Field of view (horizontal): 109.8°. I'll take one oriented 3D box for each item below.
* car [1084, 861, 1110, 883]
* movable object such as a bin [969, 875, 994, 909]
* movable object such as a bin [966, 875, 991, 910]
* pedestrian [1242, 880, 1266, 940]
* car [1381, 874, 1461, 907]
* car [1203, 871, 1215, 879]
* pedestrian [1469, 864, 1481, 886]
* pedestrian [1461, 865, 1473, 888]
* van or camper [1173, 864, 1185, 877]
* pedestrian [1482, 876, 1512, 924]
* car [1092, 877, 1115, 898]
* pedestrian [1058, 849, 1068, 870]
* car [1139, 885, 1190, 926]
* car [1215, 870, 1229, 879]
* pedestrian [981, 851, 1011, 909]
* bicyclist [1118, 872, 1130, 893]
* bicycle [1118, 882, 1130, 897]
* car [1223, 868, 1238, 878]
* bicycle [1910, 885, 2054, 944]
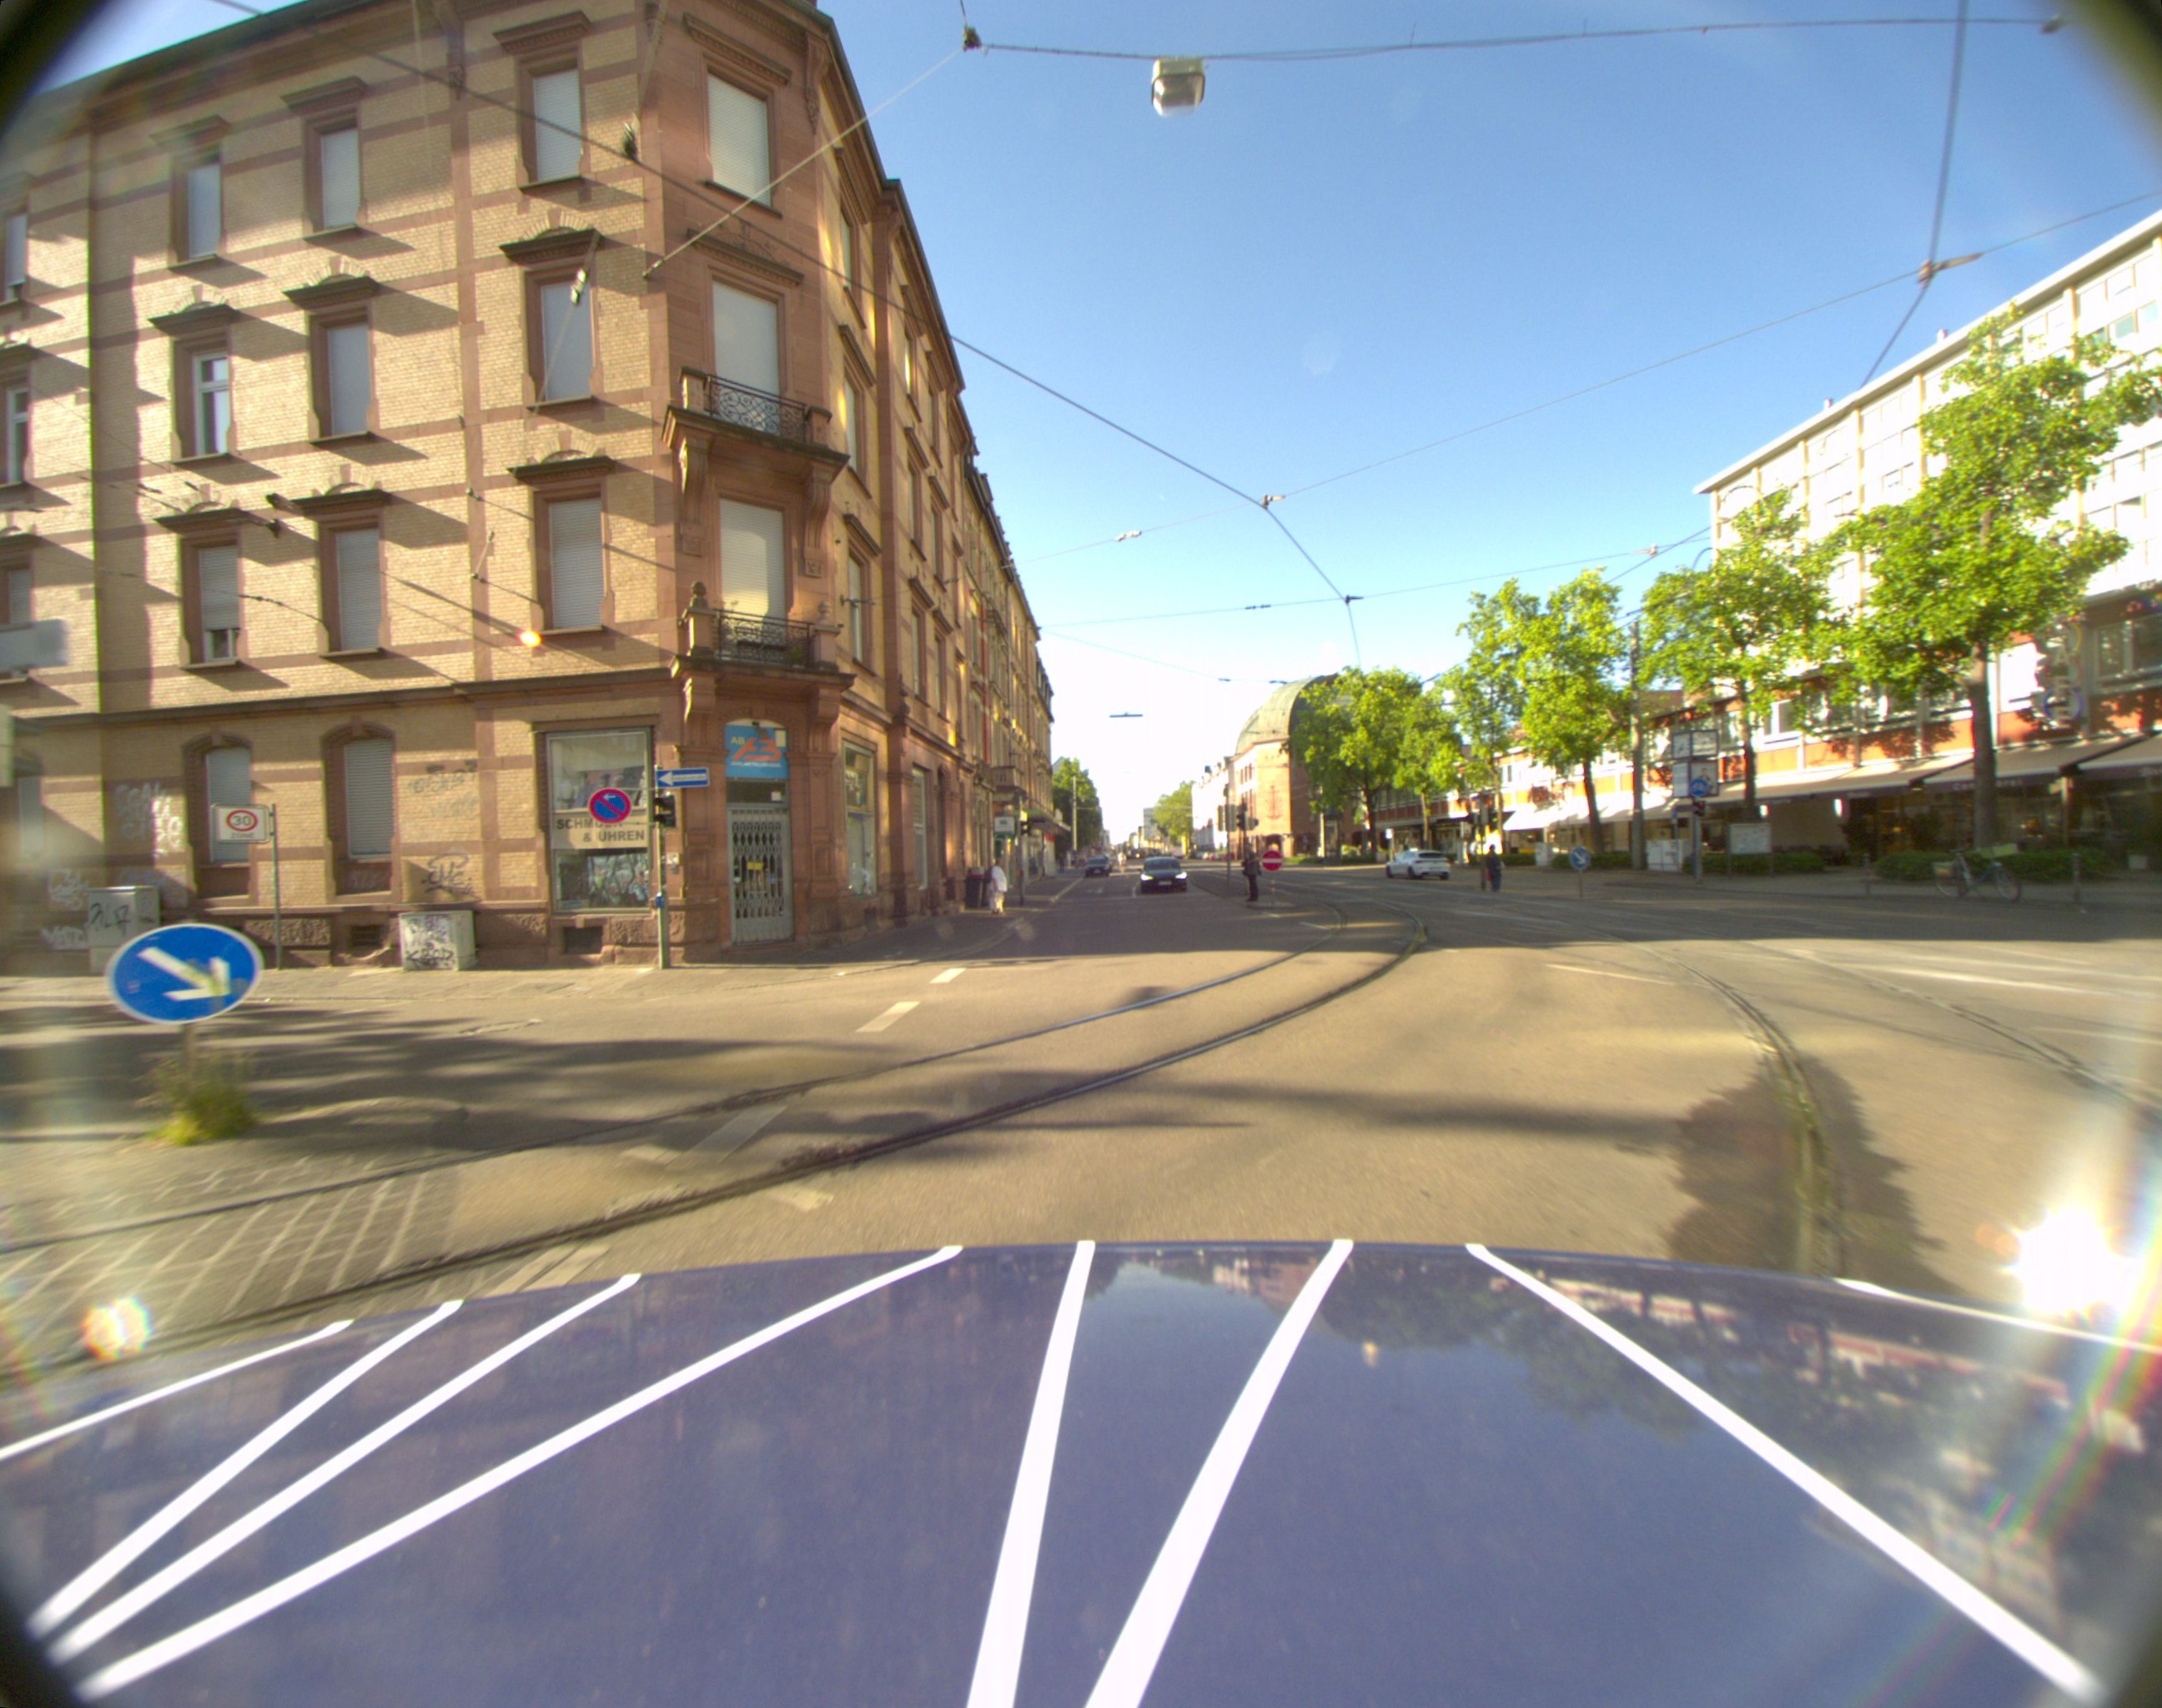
[{"bbox_3d":[1.235,1.370,57.262,1.694,1.442,4.361,-4,-2,3],"label":"car"},{"bbox_3d":[-3.236,1.226,24.795,0.664,1.066,0.591,1,-1,5],"label":"movable object such as a bin"},{"bbox_3d":[-3.265,1.221,24.191,0.664,1.066,0.545,1,-1,5],"label":"movable object such as a bin"},{"bbox_3d":[5.259,1.684,23.095,0.559,1.753,0.895,0,-1,3],"label":"pedestrian"},{"bbox_3d":[16.664,1.765,37.539,1.998,1.442,4.503,-2,-2,1],"label":"car"},{"bbox_3d":[25.035,4.120,148.356,1.855,1.445,3.855,-3,-2,3],"label":"car"},{"bbox_3d":[31.166,1.664,60.139,0.573,1.740,0.707,-2,-1,4],"label":"pedestrian"},{"bbox_3d":[30.539,1.782,60.106,0.573,1.761,0.707,-2,-1,4],"label":"pedestrian"},{"bbox_3d":[21.866,3.623,169.157,2.041,2.722,7.023,-1,-1,3],"label":"van or camper"},{"bbox_3d":[13.431,1.468,24.528,0.501,1.508,0.859,0,-1,3],"label":"pedestrian"},{"bbox_3d":[2.087,3.027,69.374,1.694,1.703,4.618,-4,-1,5],"label":"car"},{"bbox_3d":[-1.676,0.518,69.952,0.685,1.900,1.063,-4,0,6],"label":"pedestrian"},{"bbox_3d":[3.467,2.126,32.254,1.815,1.415,4.155,-4,-1,3],"label":"car"},{"bbox_3d":[24.476,3.596,132.071,1.855,1.445,3.855,-3,-2,3],"label":"car"},{"bbox_3d":[-2.397,0.721,21.411,0.683,1.597,0.730,-2,-1,-15],"label":"pedestrian"},{"bbox_3d":[3.604,2.408,64.227,0.895,1.755,1.030,-4,0,3],"label":"bicyclist"},{"bbox_3d":[3.618,2.990,64.127,0.889,1.155,2.079,-4,0,3],"label":"bicycle"},{"bbox_3d":[24.066,3.074,122.314,1.753,1.445,3.472,-3,-2,1],"label":"car"},{"bbox_3d":[19.836,1.300,16.817,0.498,1.179,2.236,-2,-1,1],"label":"bicycle"}]
